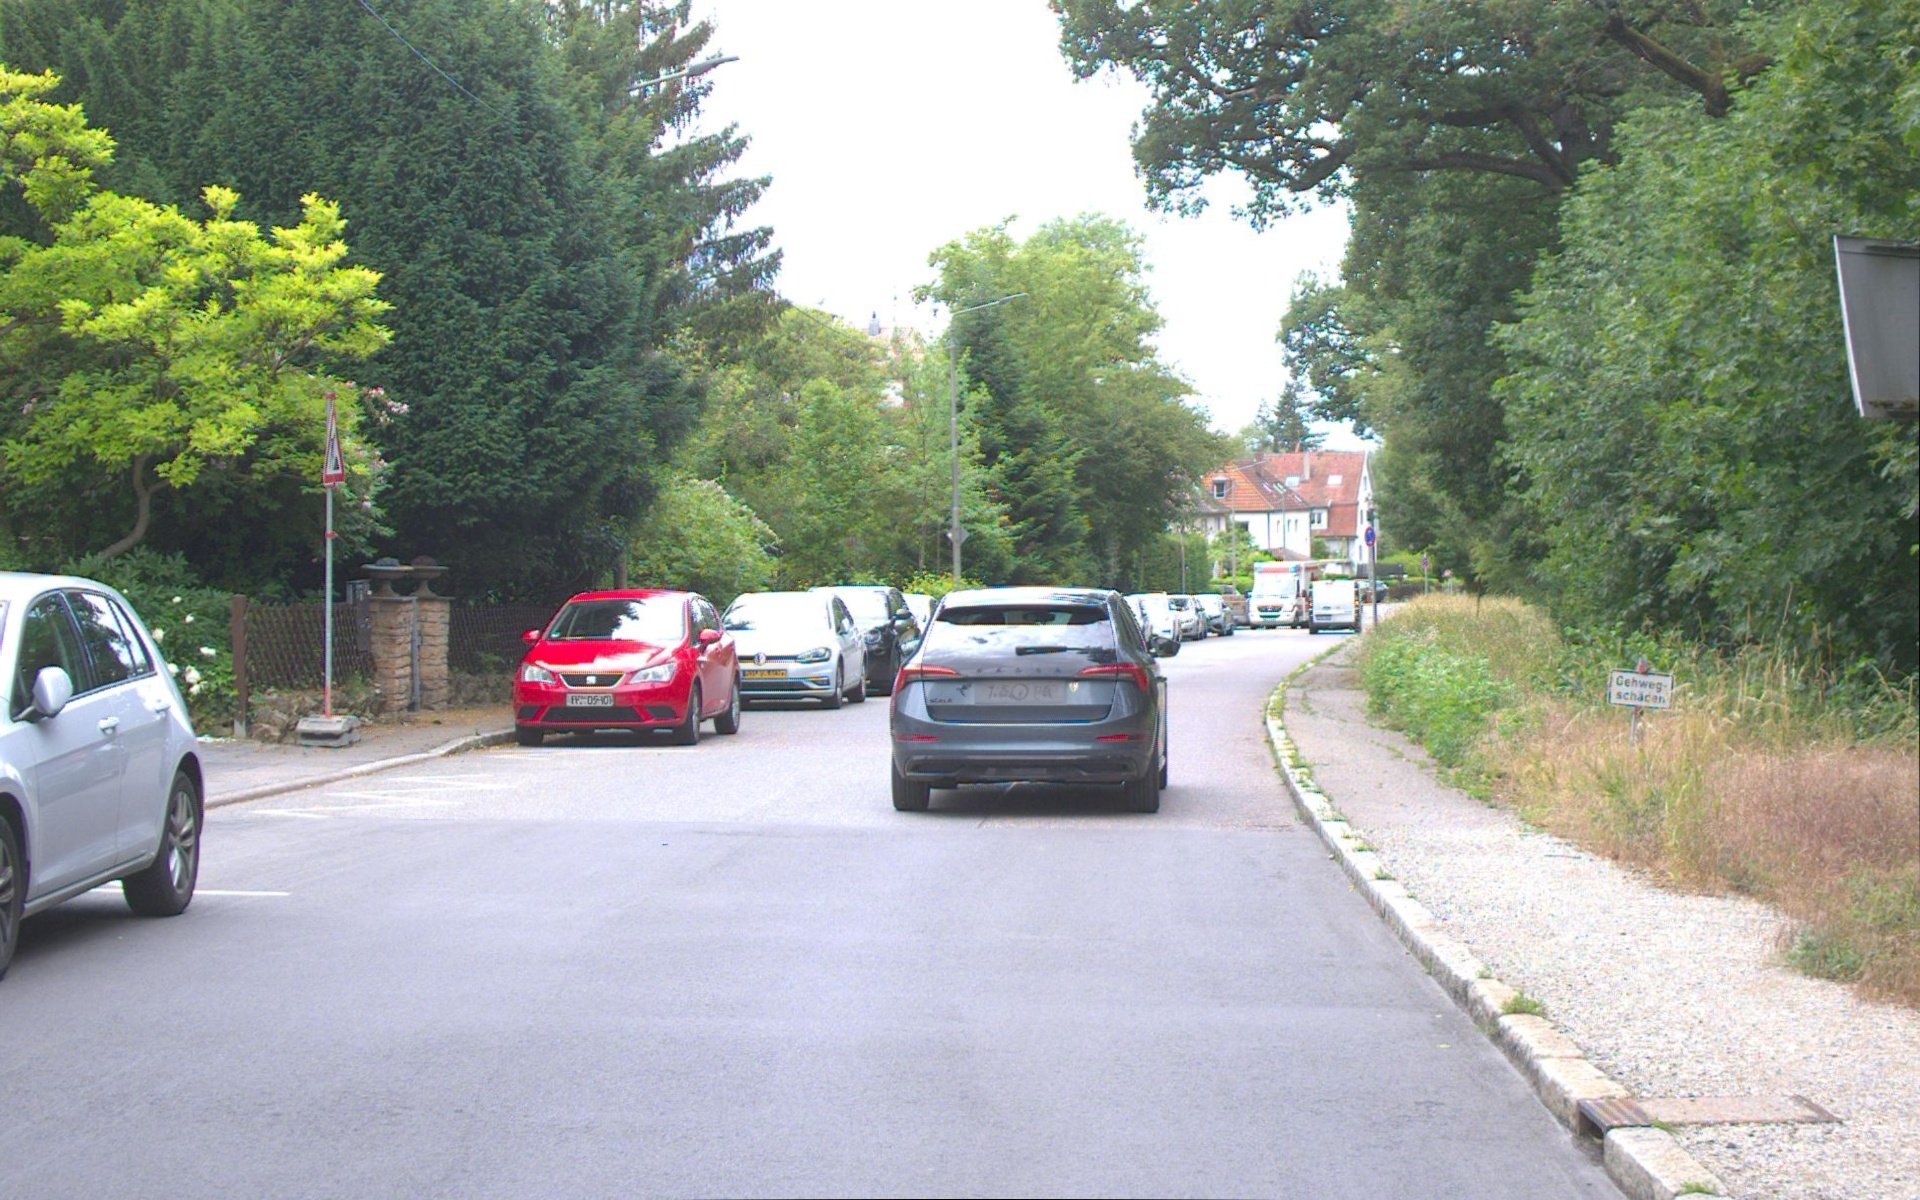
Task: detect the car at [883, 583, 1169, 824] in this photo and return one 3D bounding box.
[{"bbox_3d":[0.491,0.624,23.219,1.735,1.442,4.180,1,0,2],"label":"car"}]

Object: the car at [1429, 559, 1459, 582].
[{"bbox_3d":[31.070,-1.870,220.849,1.735,1.442,3.999,1,0,5],"label":"car"}]

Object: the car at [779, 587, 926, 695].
[{"bbox_3d":[-1.463,0.540,48.137,1.749,1.400,4.000,1,0,3],"label":"car"}]

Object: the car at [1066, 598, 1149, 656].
[{"bbox_3d":[3.772,0.660,87.244,1.749,1.400,3.999,1,0,7],"label":"car"}]

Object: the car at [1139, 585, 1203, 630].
[{"bbox_3d":[6.791,0.227,110.522,1.749,1.400,3.999,1,0,7],"label":"car"}]

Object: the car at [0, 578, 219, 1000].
[{"bbox_3d":[-4.184,0.651,13.149,1.705,1.463,4.075,1,0,2],"label":"car"}]

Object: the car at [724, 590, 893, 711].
[{"bbox_3d":[-1.841,0.596,42.939,1.749,1.400,4.000,1,0,3],"label":"car"}]

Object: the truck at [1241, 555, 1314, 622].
[{"bbox_3d":[13.696,-0.543,147.579,2.764,2.784,9.265,0,1,7],"label":"truck"}]

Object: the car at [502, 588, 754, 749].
[{"bbox_3d":[-3.097,0.605,32.795,1.635,1.400,3.999,1,0,5],"label":"car"}]

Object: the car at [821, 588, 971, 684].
[{"bbox_3d":[-0.965,0.534,53.885,1.749,1.400,3.999,1,0,7],"label":"car"}]

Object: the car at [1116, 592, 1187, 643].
[{"bbox_3d":[5.594,0.488,100.000,1.749,1.400,3.999,1,0,7],"label":"car"}]

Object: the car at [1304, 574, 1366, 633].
[{"bbox_3d":[13.861,0.108,126.975,2.206,2.056,6.133,0,1,7],"label":"car"}]
